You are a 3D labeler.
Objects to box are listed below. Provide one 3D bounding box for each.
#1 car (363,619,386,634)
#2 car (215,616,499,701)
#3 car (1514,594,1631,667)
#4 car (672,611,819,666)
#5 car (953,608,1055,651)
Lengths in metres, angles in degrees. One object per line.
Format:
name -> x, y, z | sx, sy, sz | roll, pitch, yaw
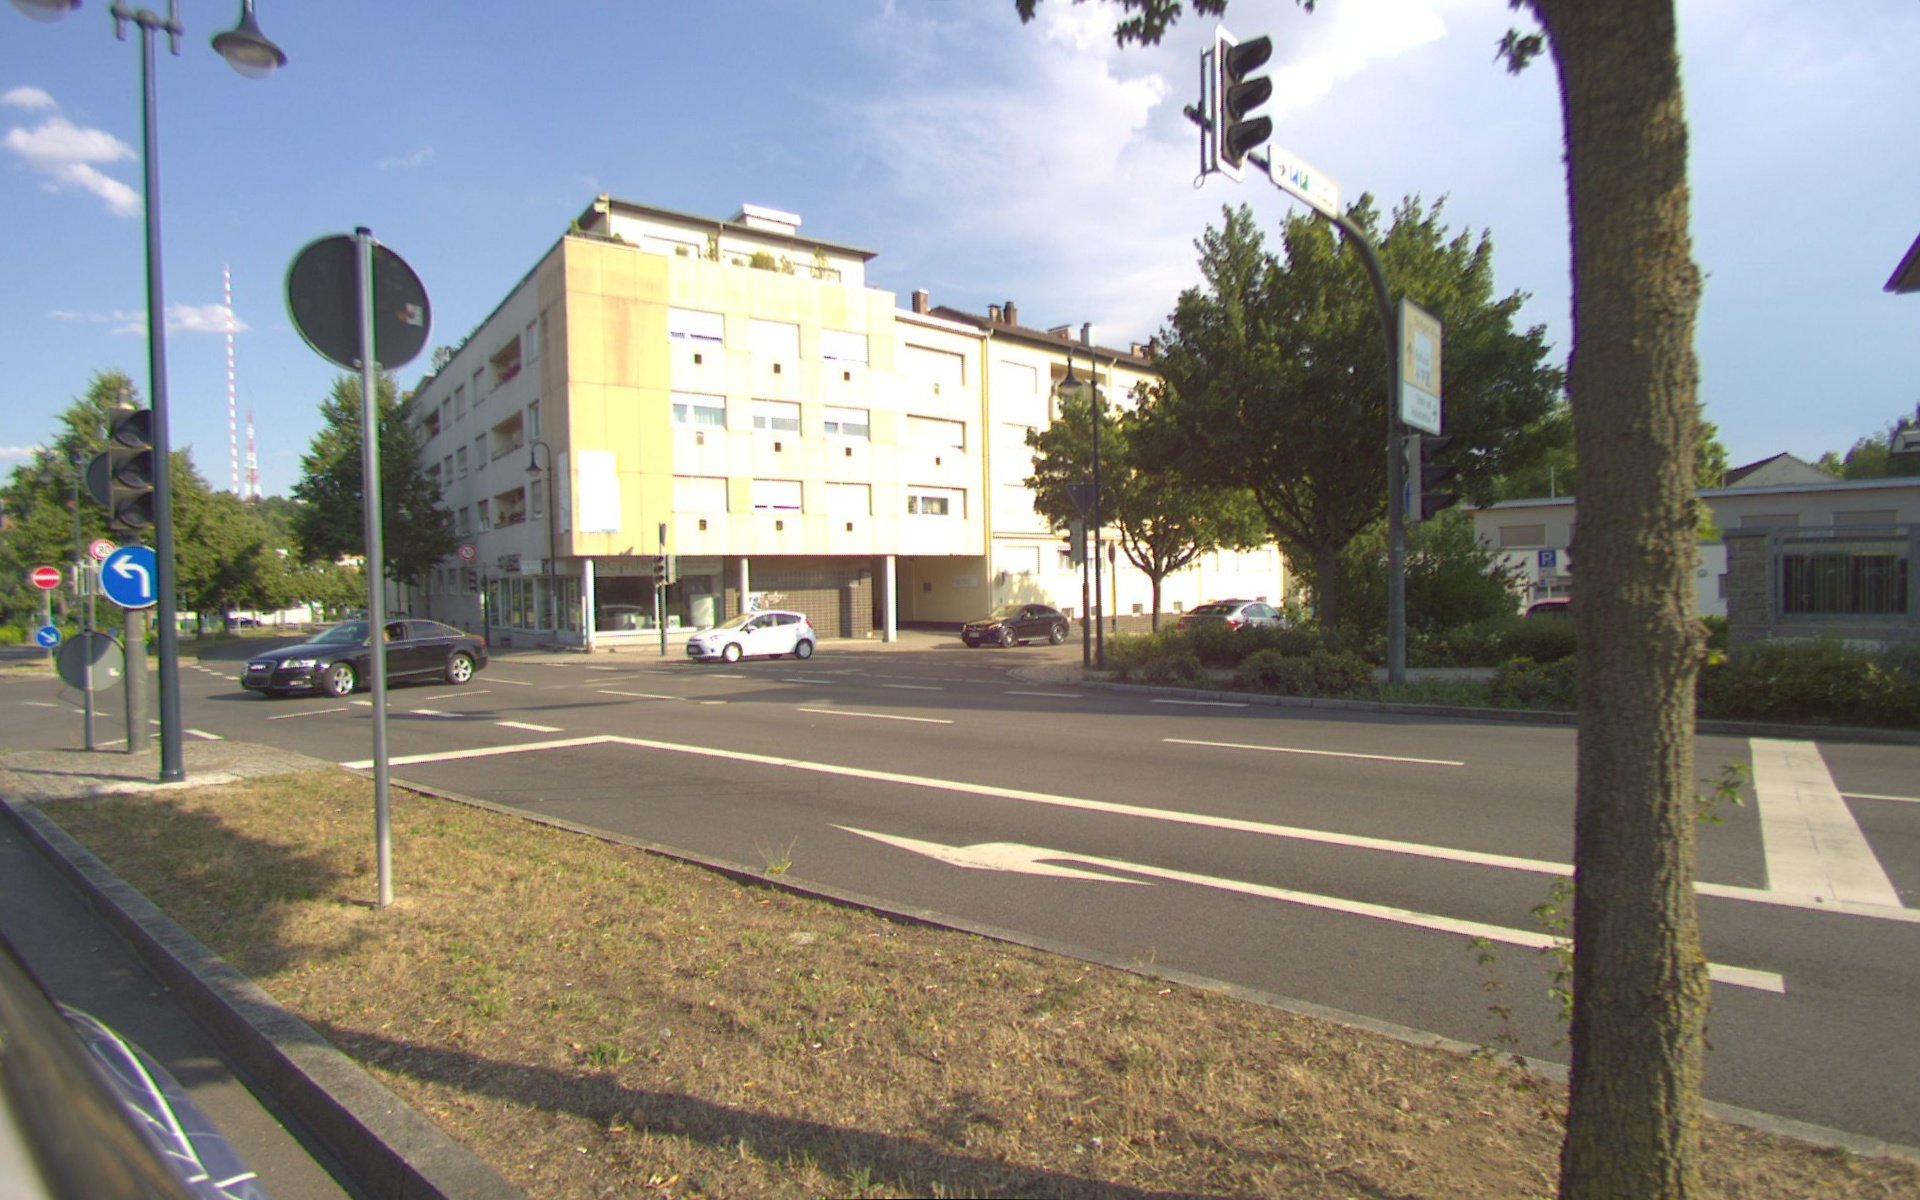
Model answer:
car -> -71.073, 3.233, 122.873 | 1.826, 1.750, 4.939 | 0, -1, -24
car -> -11.734, 1.070, 20.159 | 1.902, 1.447, 4.845 | -1, -1, 18
car -> 13.526, 0.612, 22.279 | 1.562, 1.481, 3.562 | -1, 0, 42
car -> -6.166, 1.065, 29.271 | 3.767, 1.447, 1.869 | 0, -1, -43
car -> 1.621, 1.032, 36.557 | 1.749, 1.447, 3.539 | -1, -1, 45
